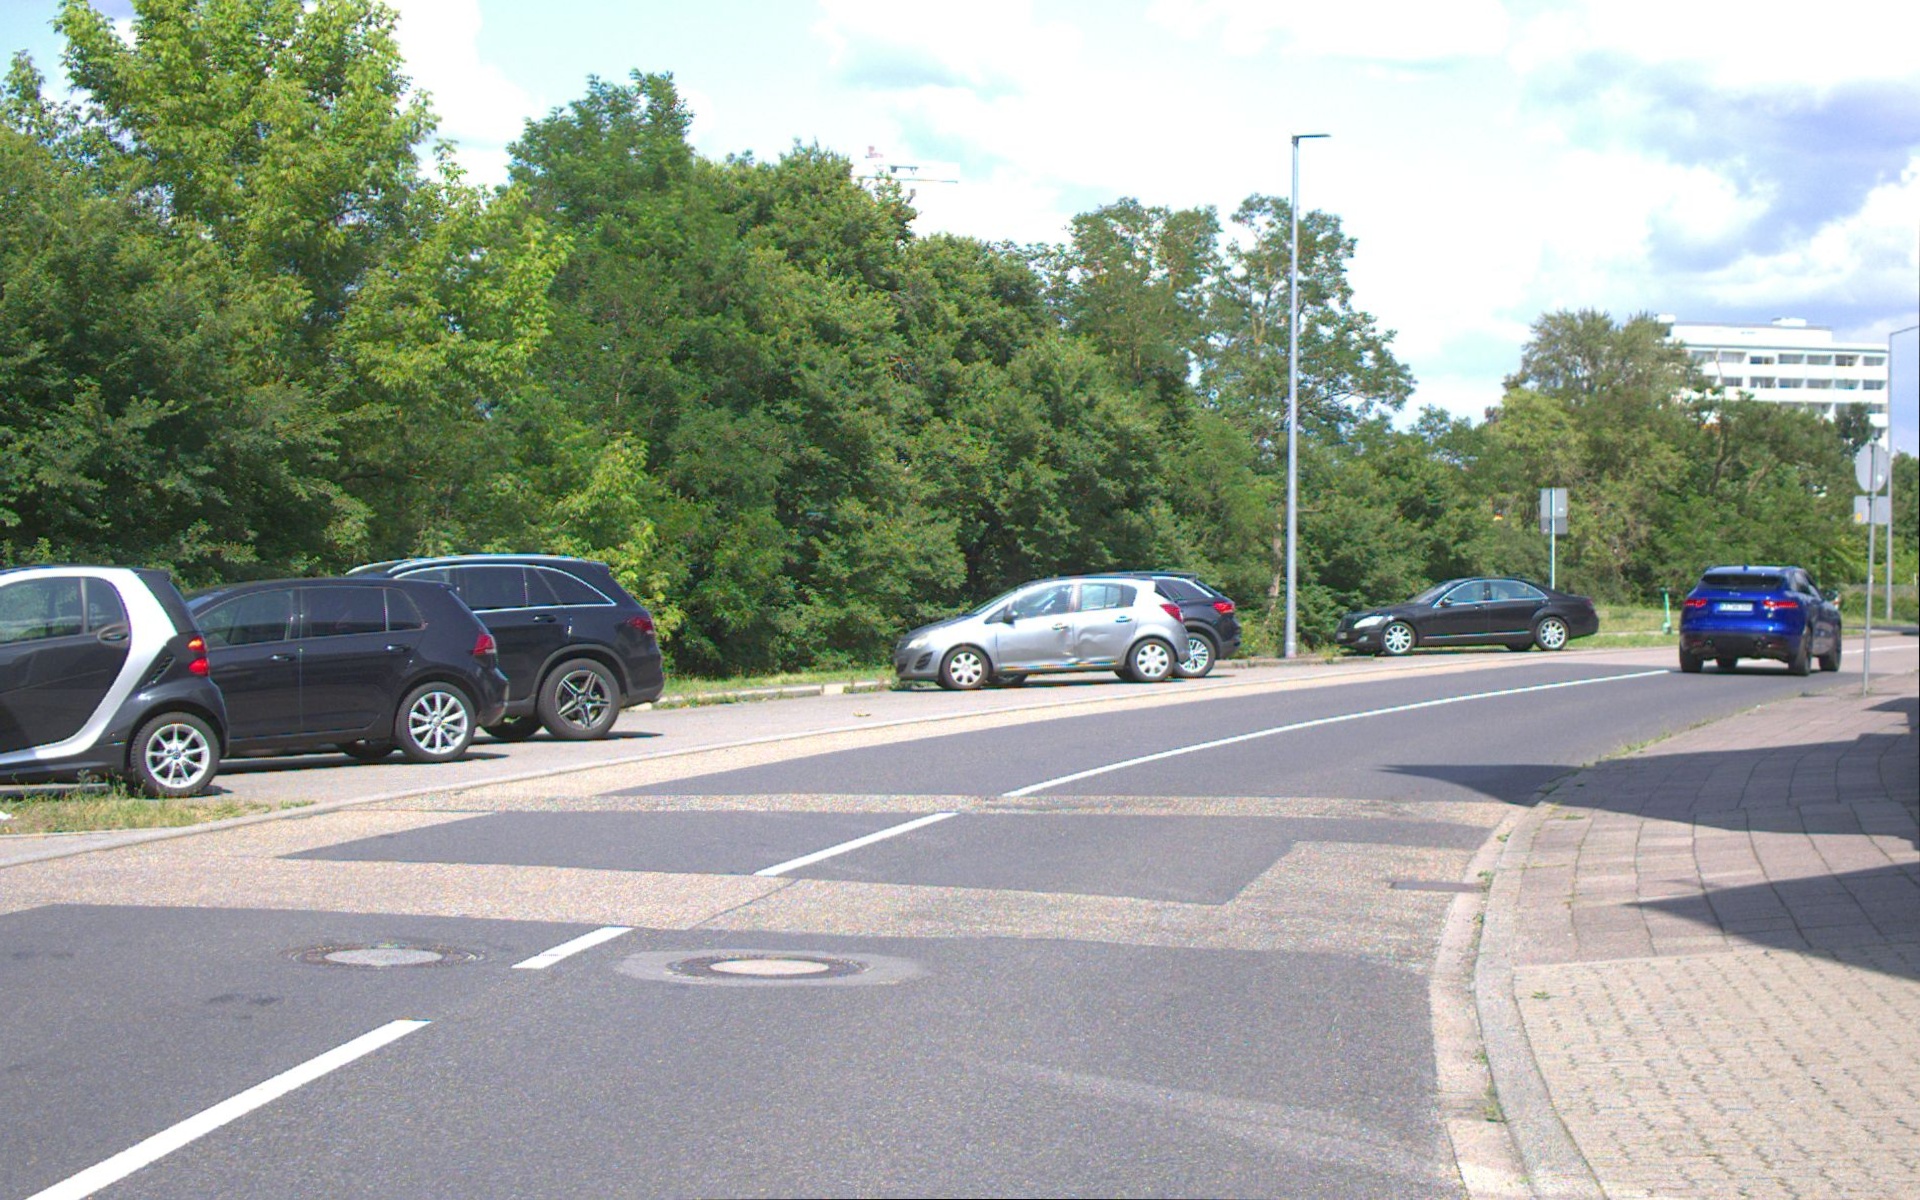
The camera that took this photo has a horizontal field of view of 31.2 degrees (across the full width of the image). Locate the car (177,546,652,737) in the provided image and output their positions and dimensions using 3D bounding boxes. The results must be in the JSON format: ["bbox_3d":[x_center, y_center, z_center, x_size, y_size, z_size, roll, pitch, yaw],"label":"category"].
[{"bbox_3d":[-4.739,0.369,29.913,3.627,1.564,1.890,1,-1,-30],"label":"car"}]

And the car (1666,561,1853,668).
[{"bbox_3d":[12.557,0.238,53.808,1.912,1.588,4.695,0,-1,25],"label":"car"}]

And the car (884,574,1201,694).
[{"bbox_3d":[1.088,0.469,46.526,4.044,1.564,1.742,0,-1,-8],"label":"car"}]

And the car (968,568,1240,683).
[{"bbox_3d":[2.005,0.361,48.467,3.577,1.564,1.742,0,-1,-8],"label":"car"}]

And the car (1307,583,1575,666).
[{"bbox_3d":[9.376,0.477,67.135,4.880,1.564,1.742,0,-1,-8],"label":"car"}]

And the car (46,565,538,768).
[{"bbox_3d":[-5.130,0.476,26.442,3.323,1.470,1.704,0,0,-31],"label":"car"}]

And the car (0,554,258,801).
[{"bbox_3d":[-6.293,0.500,22.770,2.897,1.564,1.890,1,-1,-23],"label":"car"}]
